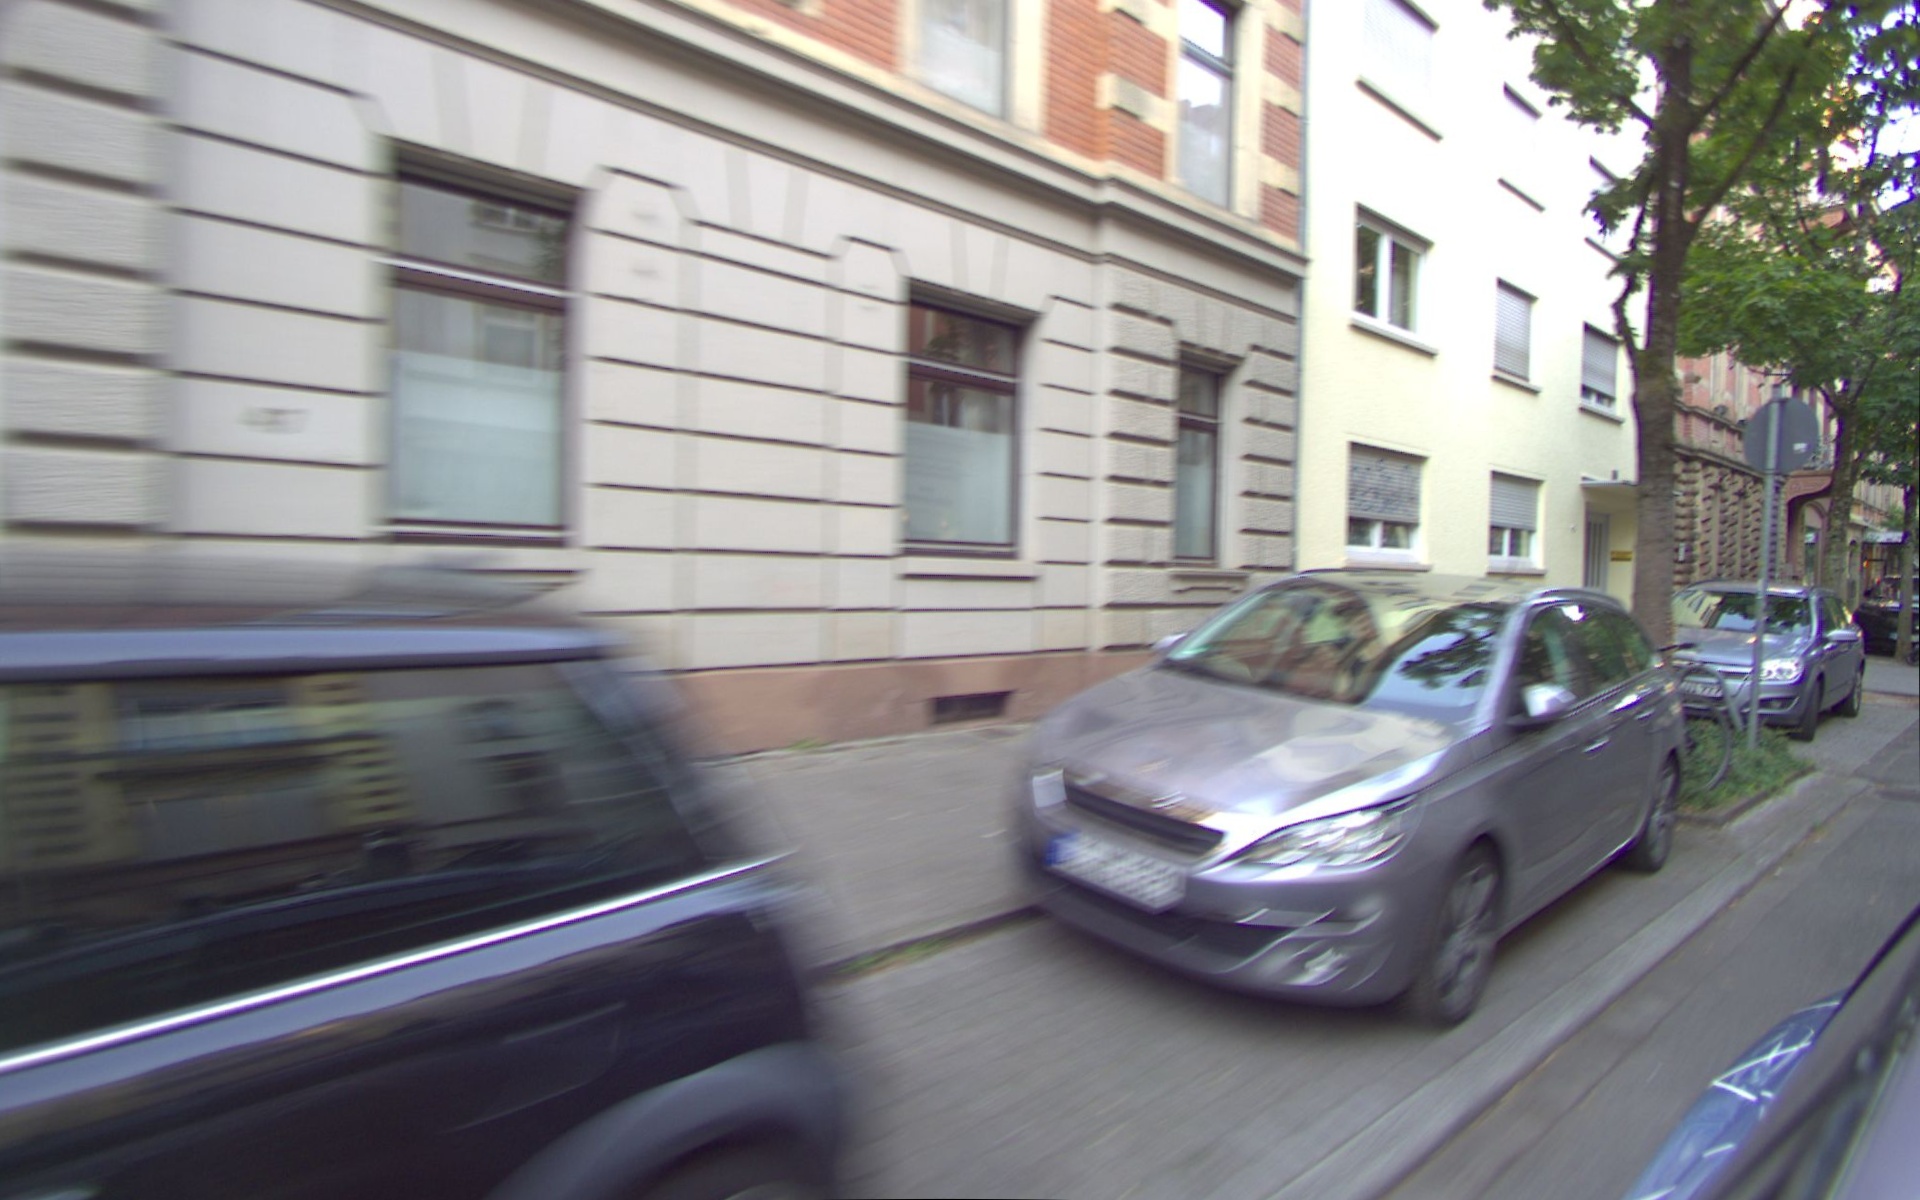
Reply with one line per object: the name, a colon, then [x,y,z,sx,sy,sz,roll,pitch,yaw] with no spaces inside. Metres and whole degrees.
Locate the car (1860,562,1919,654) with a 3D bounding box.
car: [21.665,0.195,22.333,4.727,1.855,2.018,0,5,-41]

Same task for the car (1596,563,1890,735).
car: [8.667,0.404,11.068,4.233,1.481,1.762,0,3,-42]

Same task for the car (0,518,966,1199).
car: [-1.848,0.606,1.167,3.504,1.441,1.638,0,4,-42]

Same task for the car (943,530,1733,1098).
car: [2.108,0.528,4.808,4.294,1.494,1.720,0,4,-43]

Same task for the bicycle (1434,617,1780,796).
bicycle: [4.363,0.674,7.003,1.904,0.994,0.632,3,2,28]
